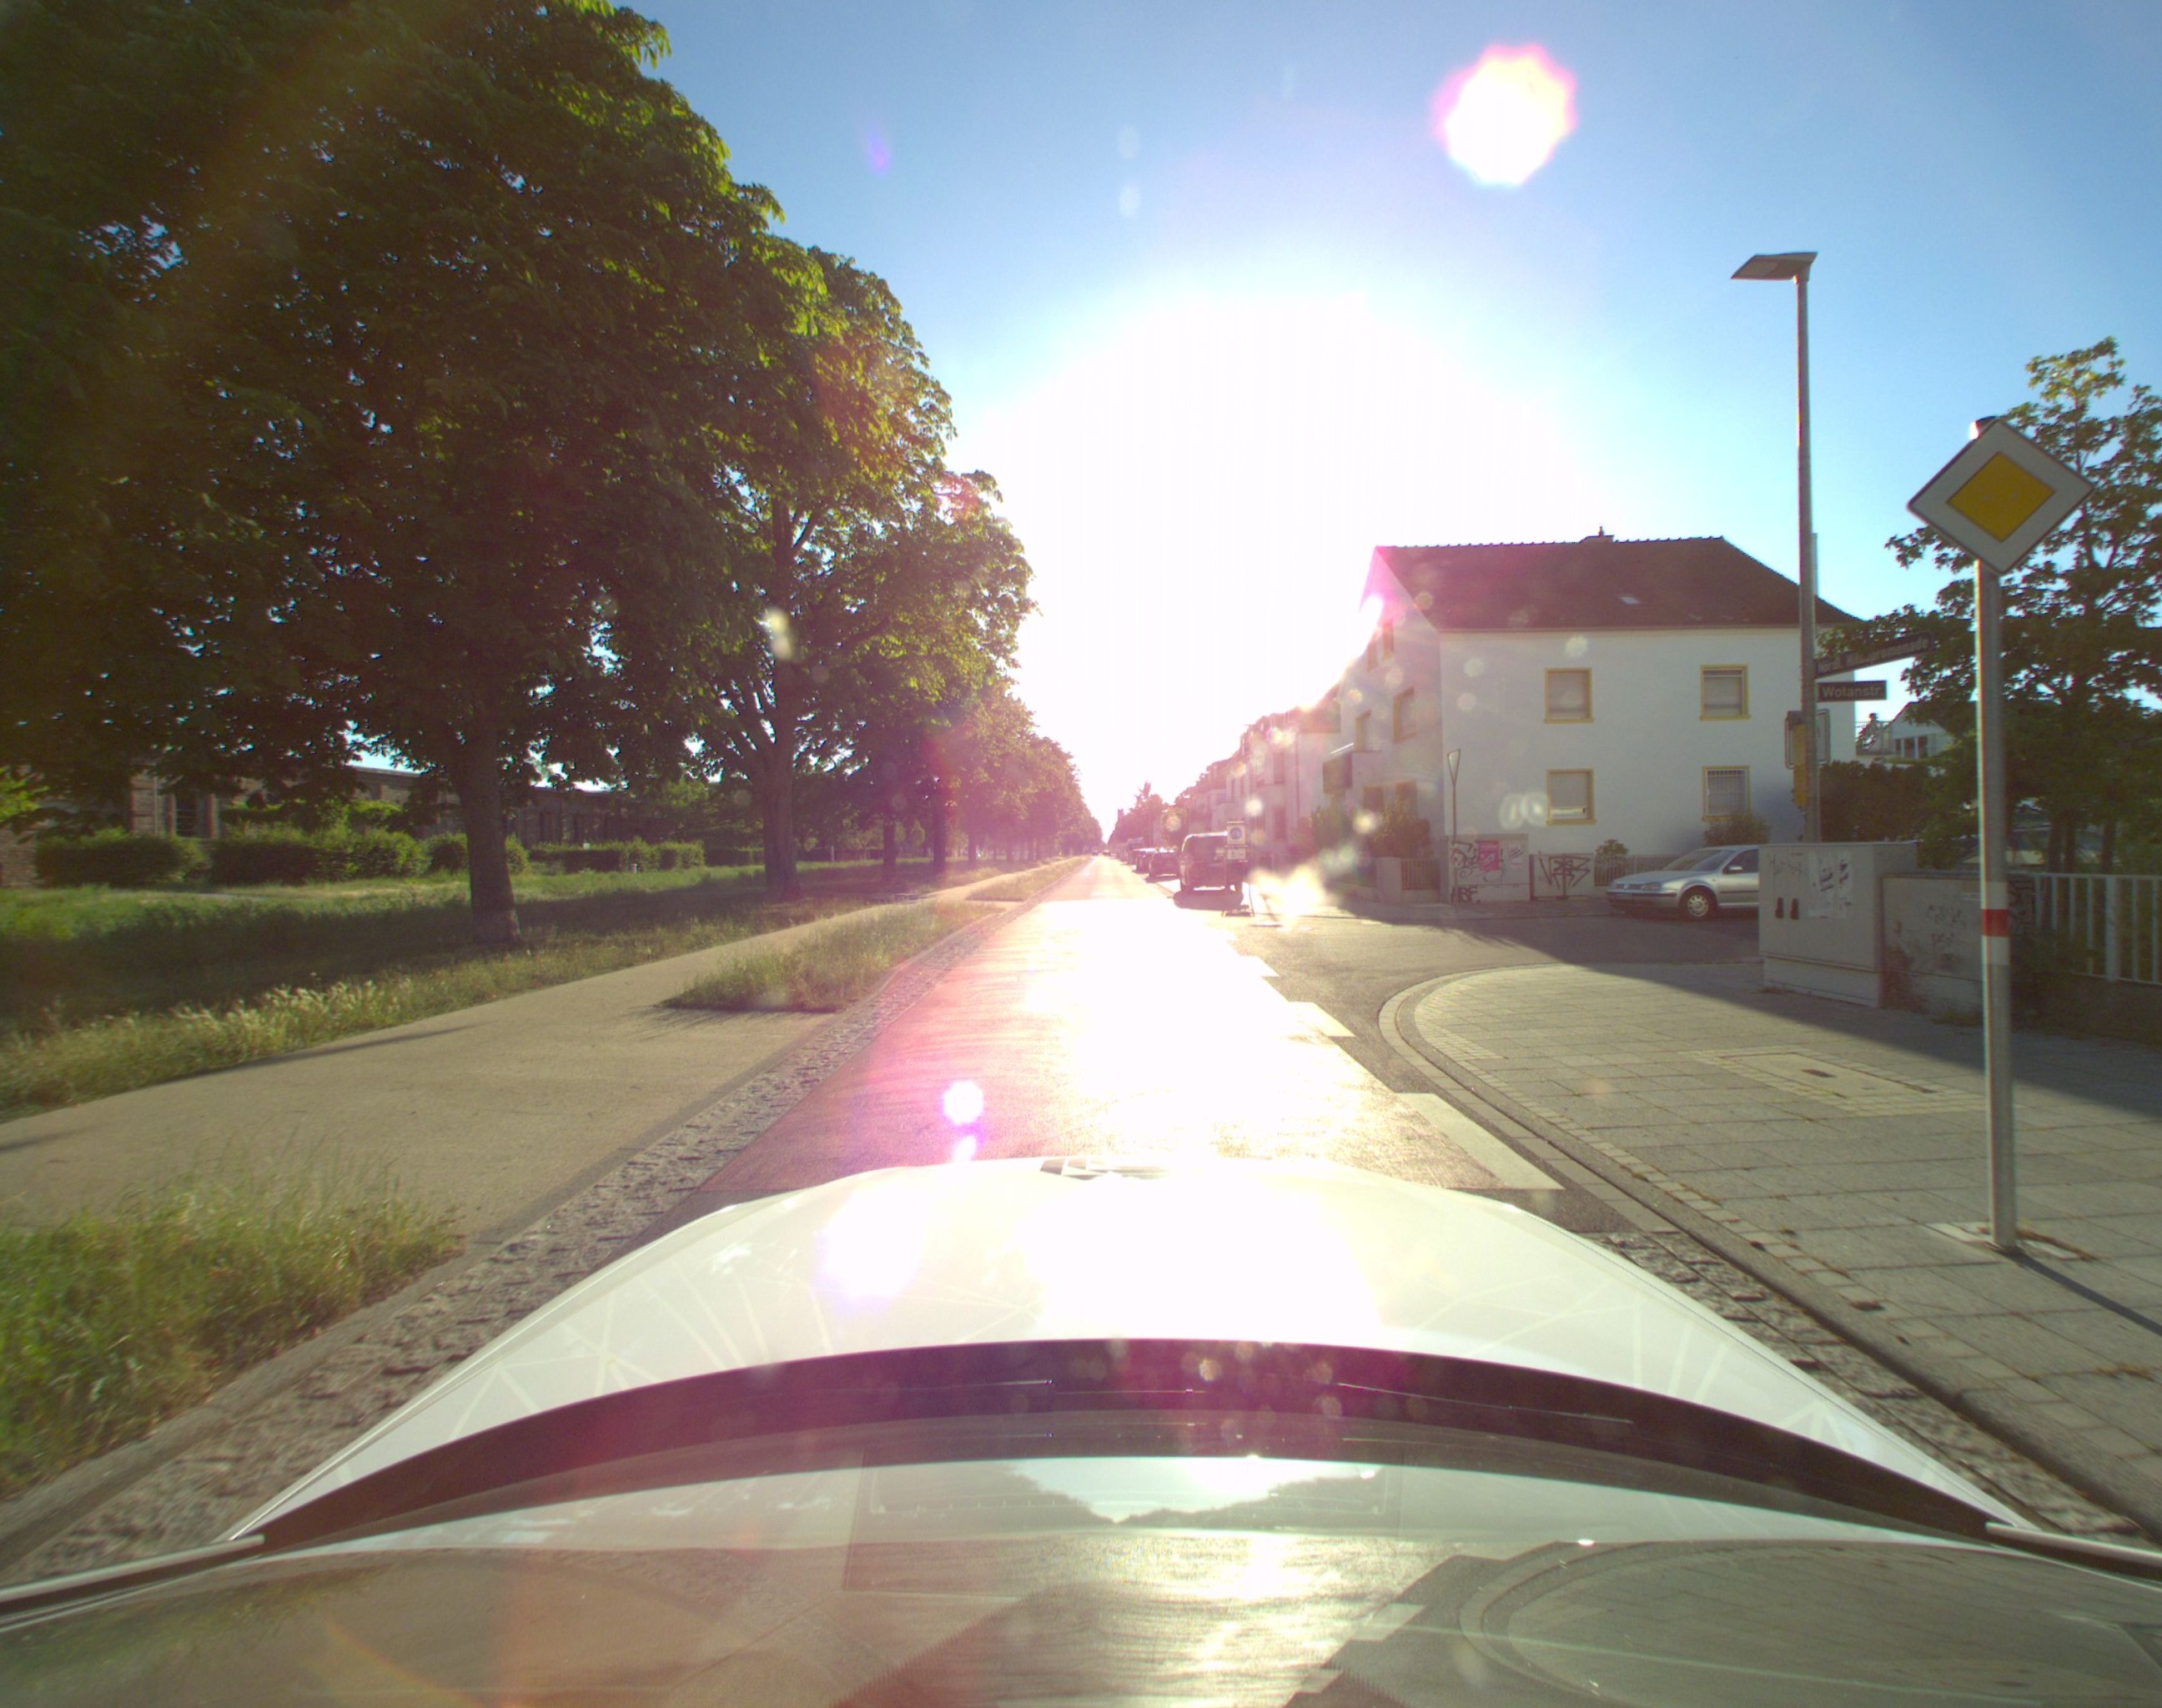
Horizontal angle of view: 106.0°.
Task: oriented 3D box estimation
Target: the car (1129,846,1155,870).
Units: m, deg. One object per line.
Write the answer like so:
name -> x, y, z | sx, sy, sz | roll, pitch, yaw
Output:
car -> 4.662, 0.274, 62.566 | 1.825, 1.685, 4.417 | 0, 1, 2

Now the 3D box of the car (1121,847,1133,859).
car -> 6.415, -0.163, 114.118 | 1.643, 1.530, 3.854 | -3, 1, 3

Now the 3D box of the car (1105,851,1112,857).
car -> 7.654, -0.092, 226.474 | 1.856, 1.597, 3.894 | 0, 1, 1

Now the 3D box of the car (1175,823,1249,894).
car -> 4.447, 0.100, 28.341 | 1.898, 2.131, 4.818 | -4, 1, 3

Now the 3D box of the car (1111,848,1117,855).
car -> 8.415, -0.663, 207.777 | 1.643, 1.530, 3.854 | -2, 1, 3

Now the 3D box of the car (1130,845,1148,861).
car -> 5.899, -0.103, 83.422 | 1.657, 1.593, 4.088 | 0, 1, 2

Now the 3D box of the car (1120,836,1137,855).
car -> 6.987, -1.246, 120.139 | 2.120, 2.532, 5.188 | -3, 1, 0

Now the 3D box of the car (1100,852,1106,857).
car -> 7.033, 0.047, 256.635 | 1.856, 1.597, 3.871 | 0, 0, 1

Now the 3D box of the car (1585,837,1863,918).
car -> 12.565, 0.439, 16.108 | 4.059, 1.470, 1.894 | 0, 0, -1

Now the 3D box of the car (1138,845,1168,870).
car -> 5.019, 0.191, 56.901 | 1.712, 1.574, 4.211 | -4, 0, 1

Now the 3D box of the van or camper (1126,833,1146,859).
van or camper -> 6.043, -0.818, 90.010 | 1.936, 2.777, 5.942 | 0, 0, 2

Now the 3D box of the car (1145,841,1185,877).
car -> 4.555, 0.207, 44.803 | 1.787, 1.771, 4.474 | -4, 1, 2

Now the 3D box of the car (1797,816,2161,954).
car -> 12.528, 0.372, 11.017 | 4.077, 1.689, 1.894 | 0, 0, -1

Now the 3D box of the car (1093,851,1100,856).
car -> 4.449, -0.146, 231.696 | 1.856, 1.597, 3.871 | 0, 0, 1

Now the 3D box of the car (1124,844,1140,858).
car -> 6.814, -0.409, 108.660 | 1.831, 1.635, 4.131 | -3, 1, 0

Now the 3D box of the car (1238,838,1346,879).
car -> 9.110, 0.189, 35.439 | 4.206, 1.726, 1.852 | -1, 0, -2

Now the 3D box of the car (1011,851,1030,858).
car -> -14.414, 0.146, 193.407 | 4.342, 1.764, 1.995 | 0, 0, -7

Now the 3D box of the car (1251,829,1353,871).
car -> 10.256, -0.196, 37.971 | 4.206, 1.726, 1.852 | -2, 0, -2
